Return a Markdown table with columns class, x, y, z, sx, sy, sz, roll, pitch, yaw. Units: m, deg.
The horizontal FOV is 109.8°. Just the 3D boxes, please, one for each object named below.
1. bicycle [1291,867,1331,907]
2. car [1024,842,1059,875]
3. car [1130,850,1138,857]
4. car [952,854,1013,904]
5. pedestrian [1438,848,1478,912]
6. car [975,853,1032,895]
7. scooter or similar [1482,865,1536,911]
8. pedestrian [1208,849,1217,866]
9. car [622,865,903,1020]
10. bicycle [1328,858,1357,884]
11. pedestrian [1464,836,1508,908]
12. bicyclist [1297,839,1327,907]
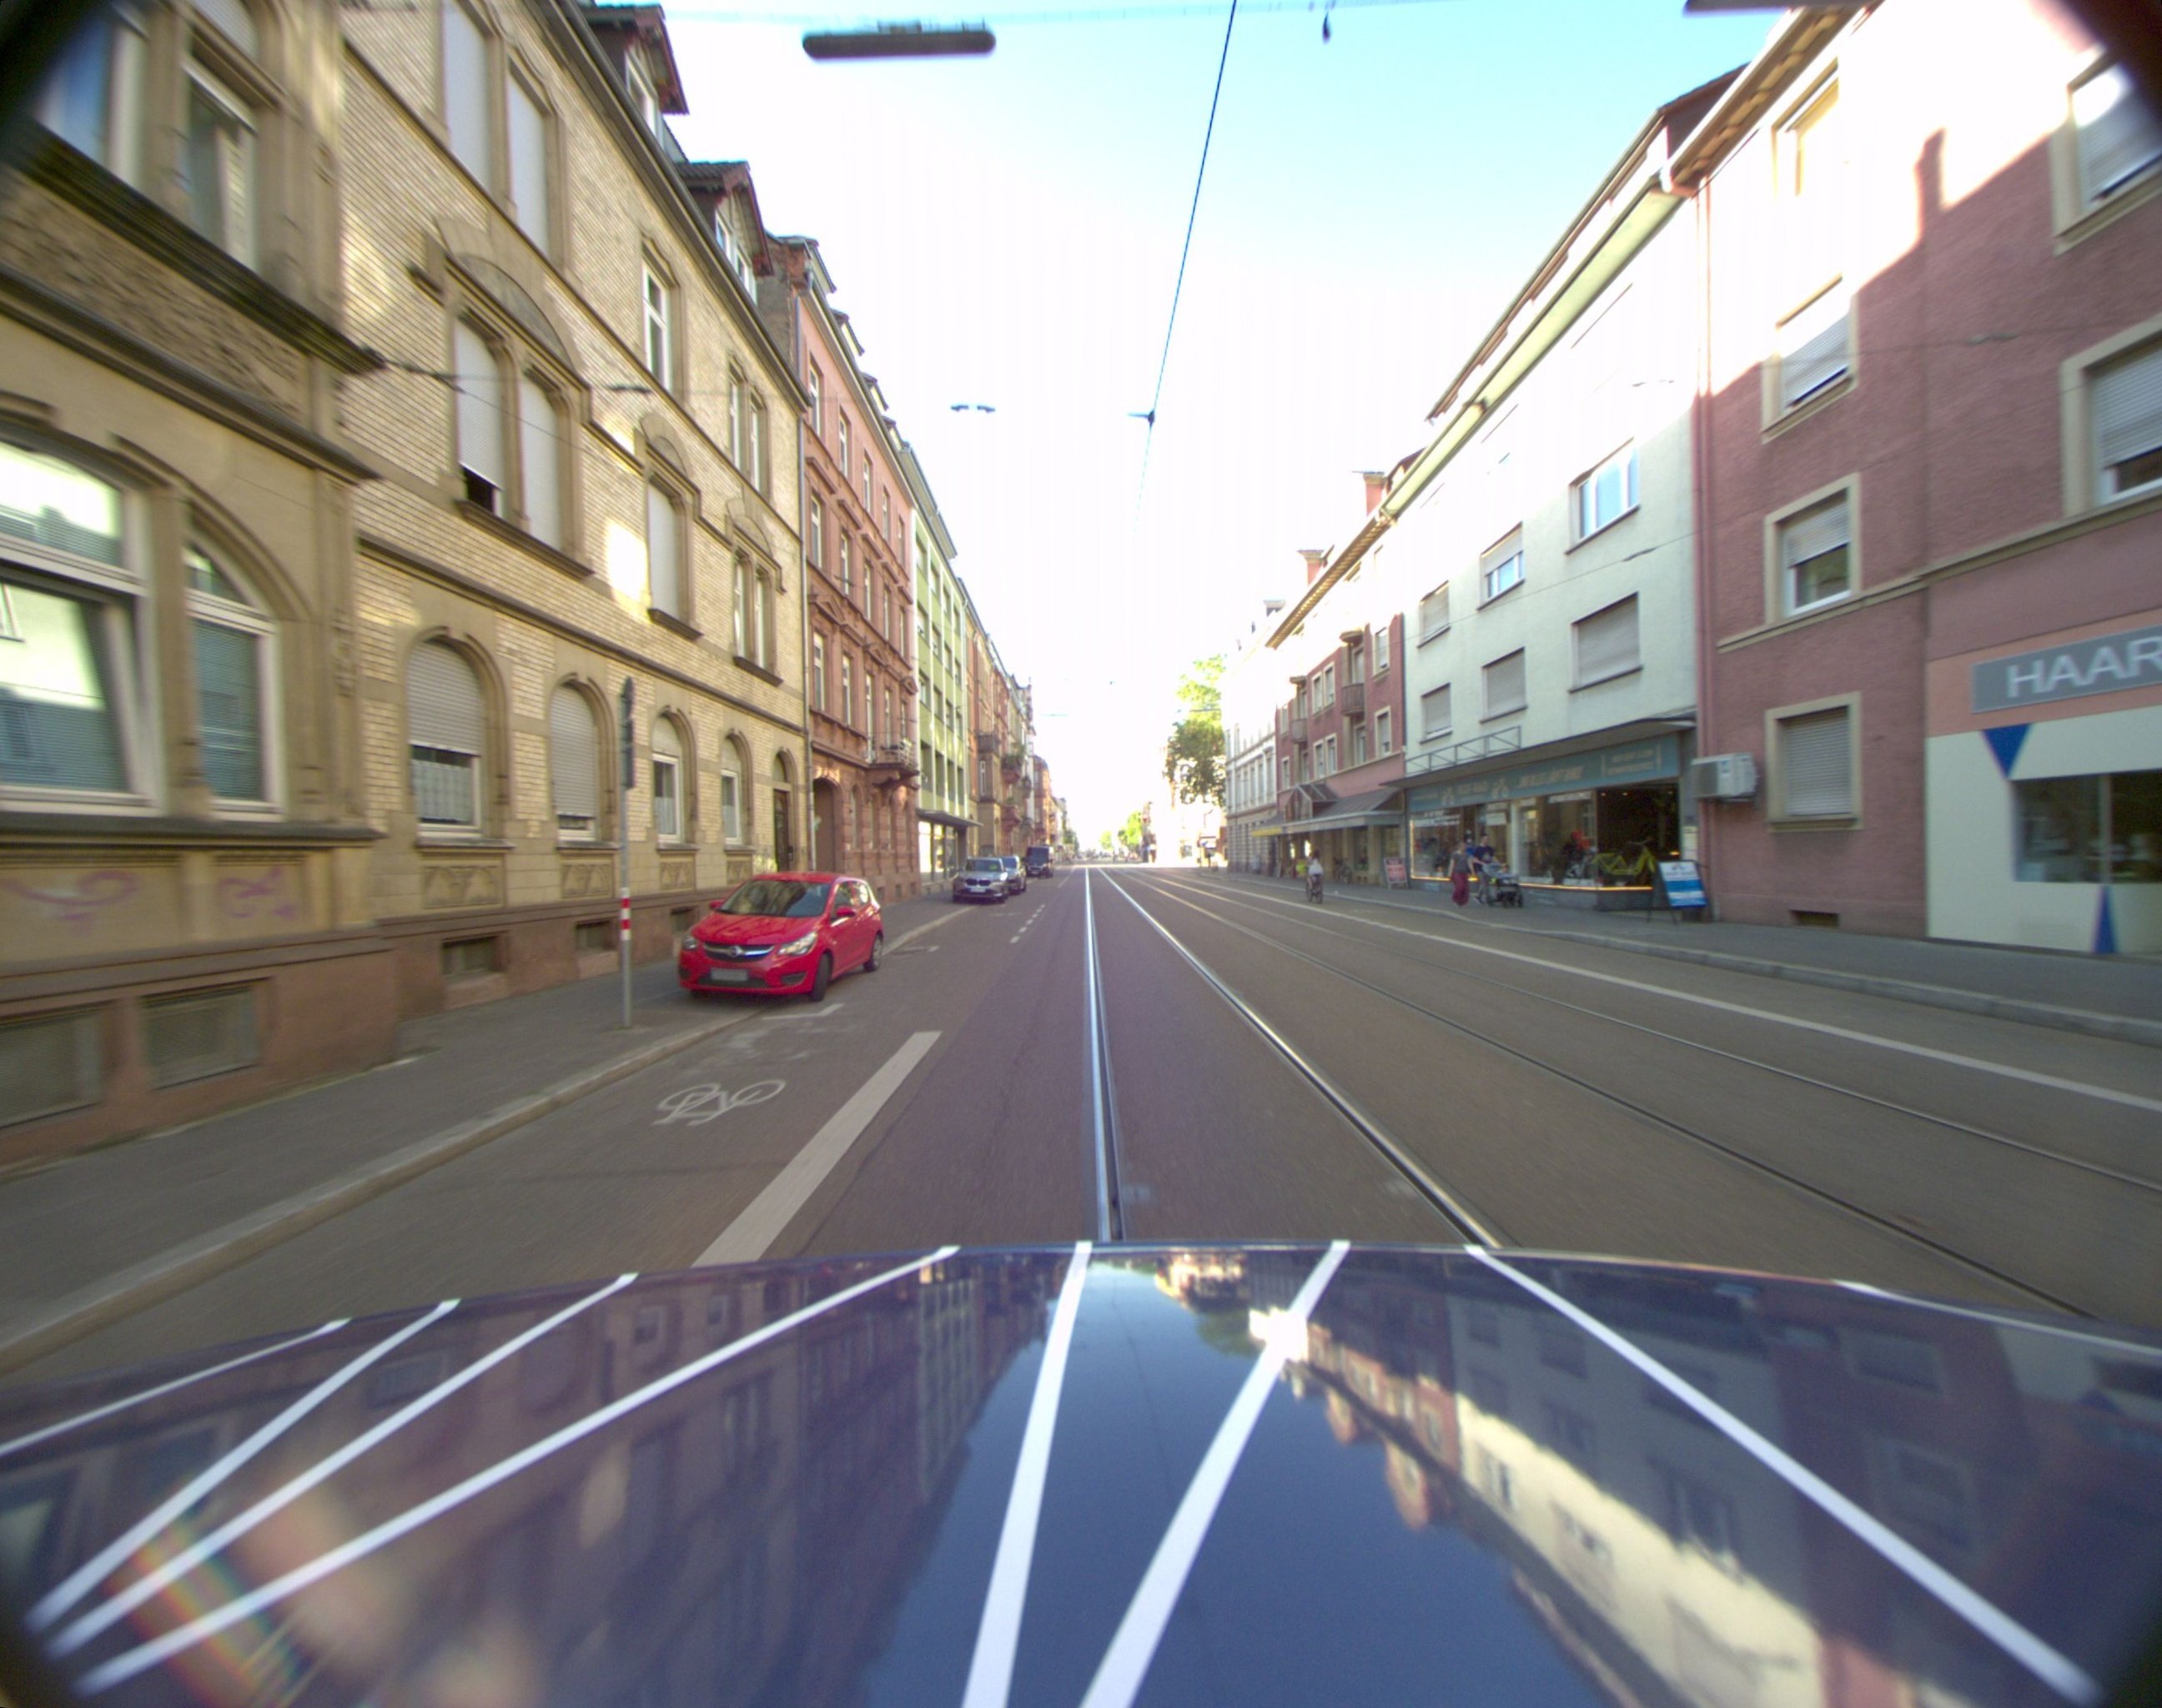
| class | x | y | z | sx | sy | sz | roll | pitch | yaw |
| --- | --- | --- | --- | --- | --- | --- | --- | --- | --- |
| bicycle | 6.949 | 0.980 | 23.059 | 0.603 | 1.089 | 2.044 | 1 | 1 | 1 |
| car | -3.101 | 0.311 | 60.791 | 2.128 | 2.478 | 5.856 | -2 | 1 | 3 |
| car | 15.276 | -0.205 | 217.790 | 1.998 | 2.002 | 4.000 | -1 | 0 | 0 |
| car | -3.546 | 0.852 | 28.101 | 1.871 | 1.637 | 4.399 | 2 | 0 | -3 |
| pedestrian | 9.302 | 0.635 | 18.777 | 0.637 | 1.540 | 0.623 | -2 | 1 | 0 |
| car | -3.358 | 0.822 | 33.795 | 1.998 | 1.606 | 4.785 | 2 | 1 | 0 |
| scooter or similar | 10.328 | 0.810 | 18.377 | 0.663 | 1.055 | 1.105 | -2 | 0 | 1 |
| pedestrian | 15.264 | 0.402 | 88.185 | 0.795 | 1.837 | 0.809 | -2 | 1 | 4 |
| car | -3.856 | 0.968 | 10.169 | 1.870 | 1.474 | 4.400 | 1 | 1 | 0 |
| bicycle | 11.275 | 0.720 | 32.781 | 0.425 | 1.053 | 2.329 | -2 | 1 | 0 |
| pedestrian | 10.310 | 0.448 | 19.362 | 0.627 | 1.779 | 0.821 | -2 | 1 | 0 |
| bicyclist | 6.943 | 0.568 | 22.848 | 0.613 | 2.002 | 0.733 | -2 | 1 | 1 |
